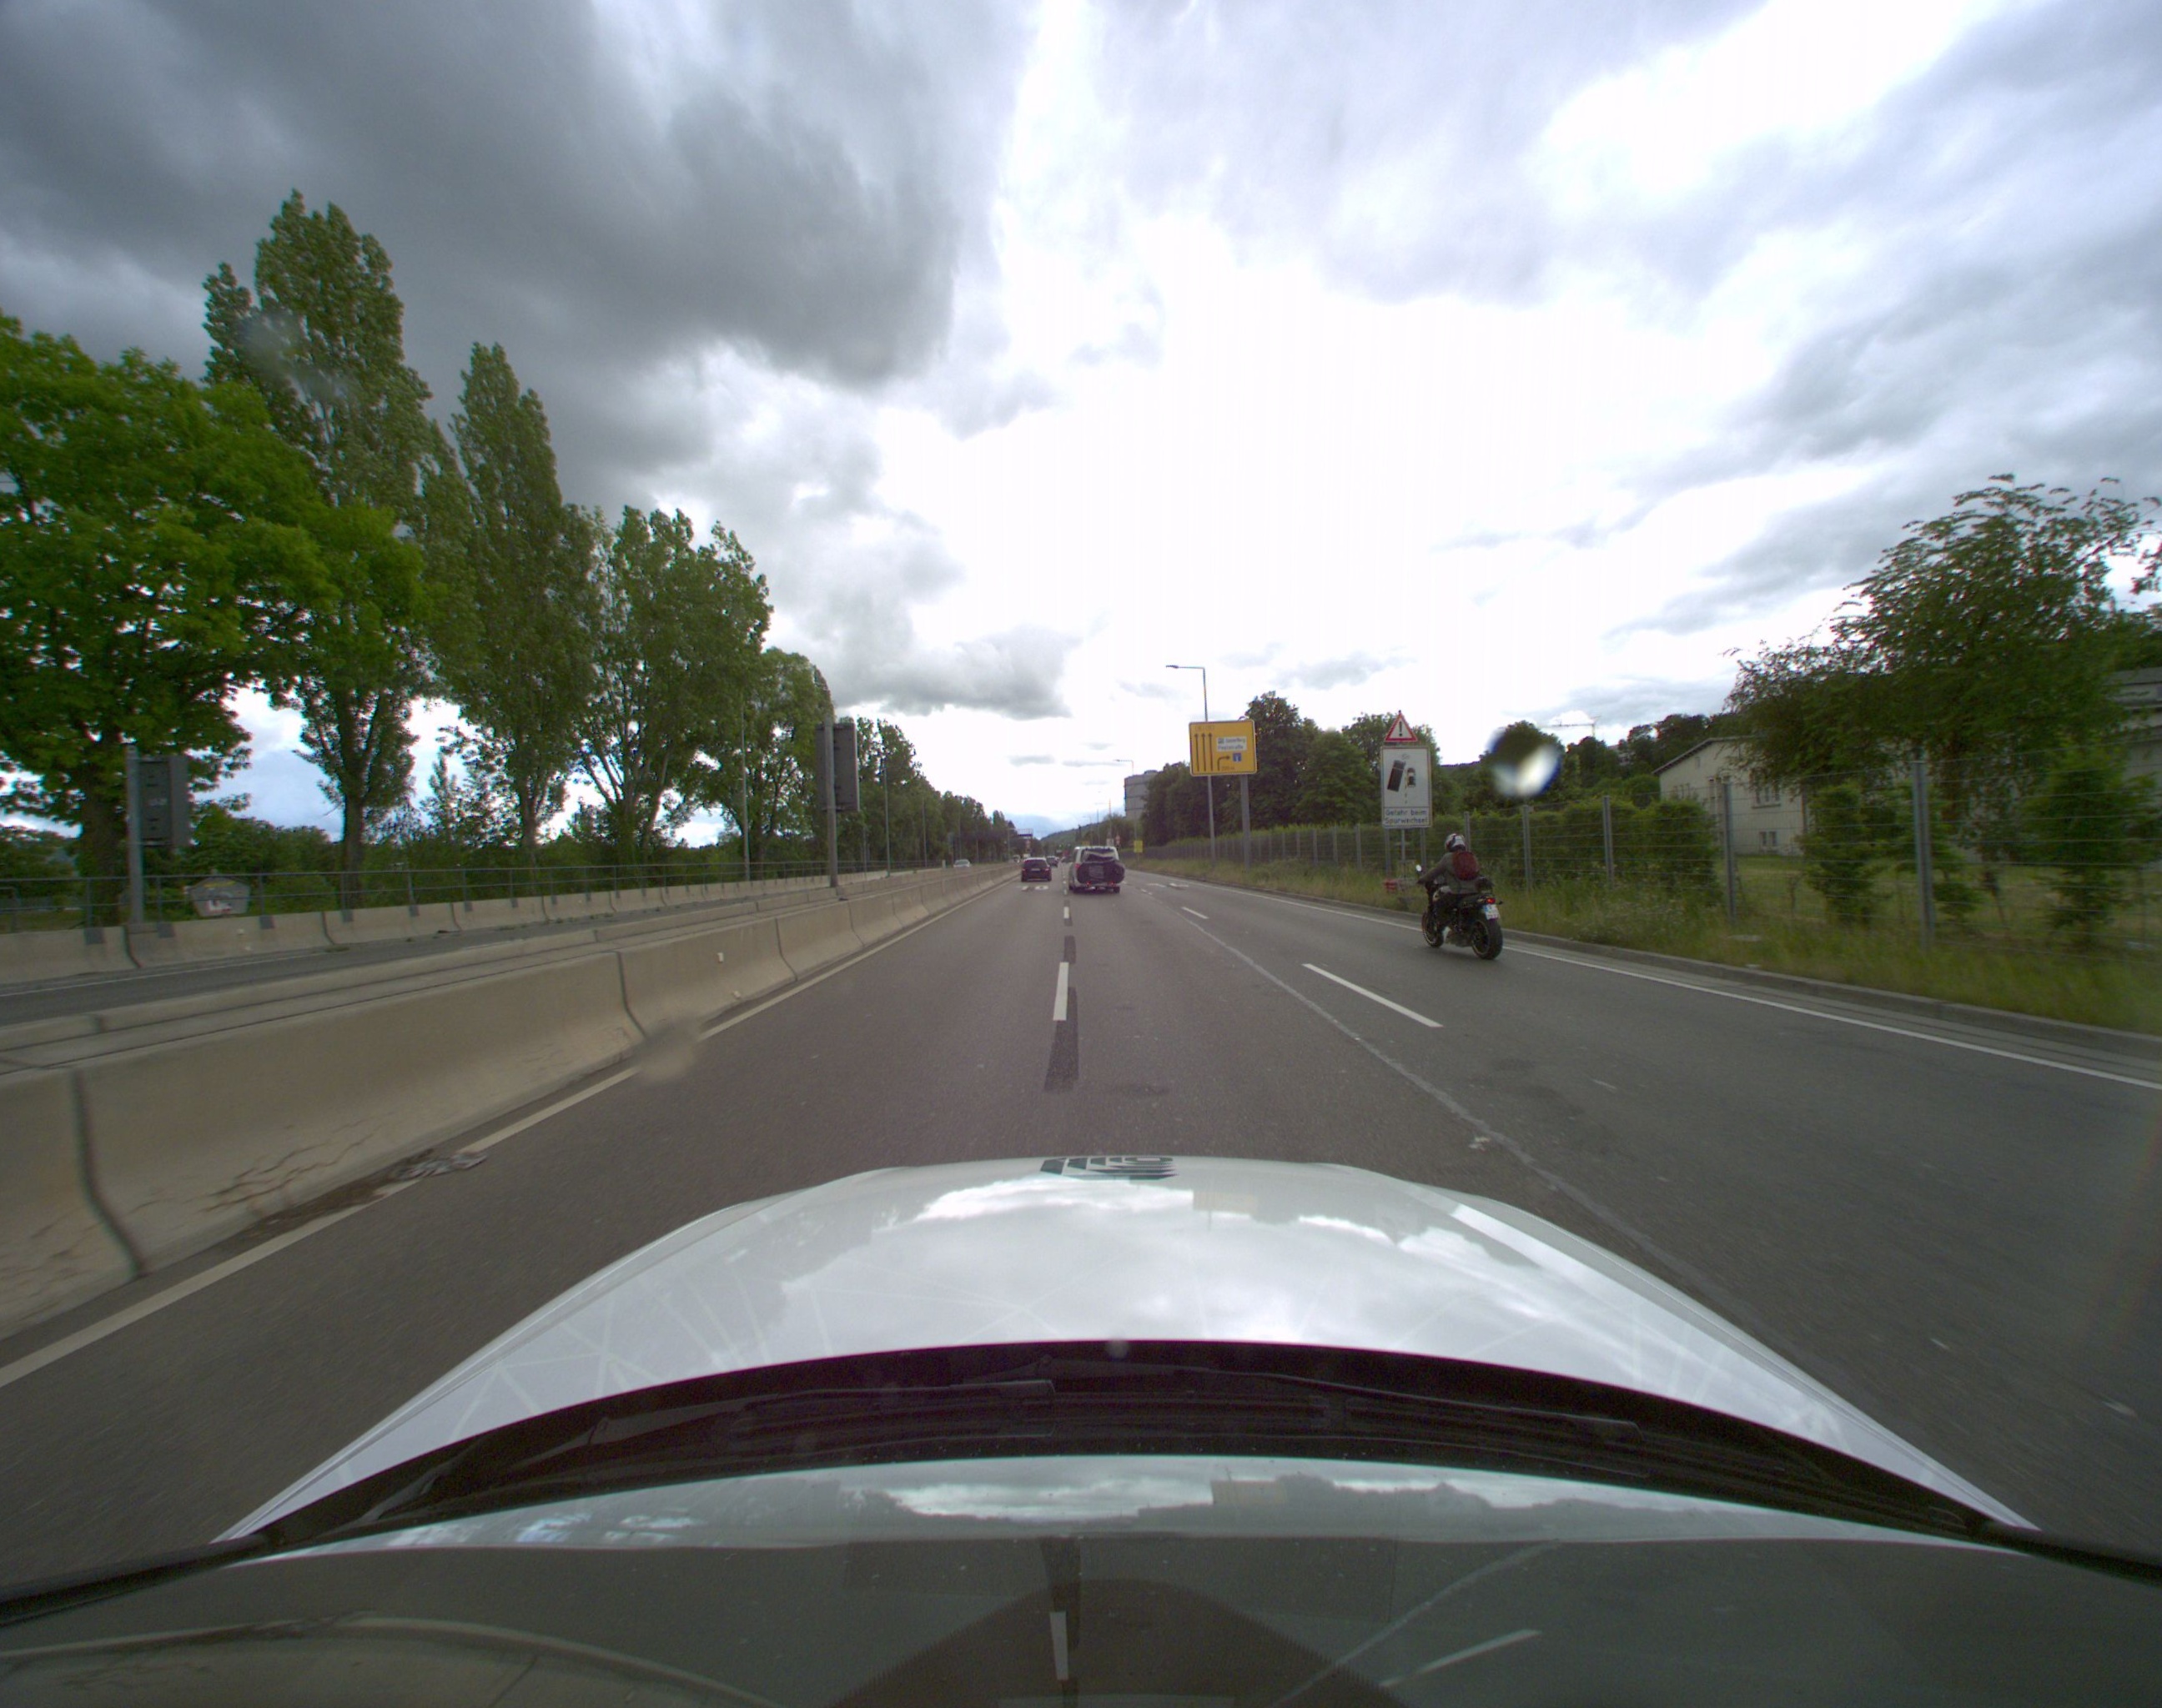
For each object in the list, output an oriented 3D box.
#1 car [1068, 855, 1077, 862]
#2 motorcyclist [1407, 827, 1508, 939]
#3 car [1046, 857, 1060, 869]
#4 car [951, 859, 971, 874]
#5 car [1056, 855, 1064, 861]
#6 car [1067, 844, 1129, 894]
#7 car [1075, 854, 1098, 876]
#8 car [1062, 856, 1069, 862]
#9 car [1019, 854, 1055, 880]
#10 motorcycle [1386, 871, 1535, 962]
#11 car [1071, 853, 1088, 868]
[{"bbox_3d":[-2.028,1.061,197.598,1.988,1.654,3.997,-1,0,-2],"label":"car"},{"bbox_3d":[5.285,0.392,11.491,0.910,1.477,0.965,-2,0,-4],"label":"motorcyclist"},{"bbox_3d":[-4.085,1.271,119.204,1.988,1.673,3.997,-1,-1,-2],"label":"car"},{"bbox_3d":[-11.947,1.223,81.213,1.730,1.374,3.611,-2,0,-4],"label":"car"},{"bbox_3d":[-5.323,1.032,210.043,1.988,1.654,3.997,-2,0,-2],"label":"car"},{"bbox_3d":[0.594,0.554,33.283,1.989,1.859,5.632,0,0,-4],"label":"car"},{"bbox_3d":[0.453,0.969,74.676,1.987,1.860,3.999,-2,0,-1],"label":"car"},{"bbox_3d":[-4.476,1.312,235.680,1.989,1.654,3.995,-1,0,-4],"label":"car"},{"bbox_3d":[-2.593,0.750,48.952,1.808,1.434,4.066,-3,0,1],"label":"car"},{"bbox_3d":[5.306,0.813,11.644,0.742,1.083,2.661,-2,0,-3],"label":"motorcycle"},{"bbox_3d":[-0.118,0.760,97.060,1.987,1.669,4.000,-1,0,0],"label":"car"}]
